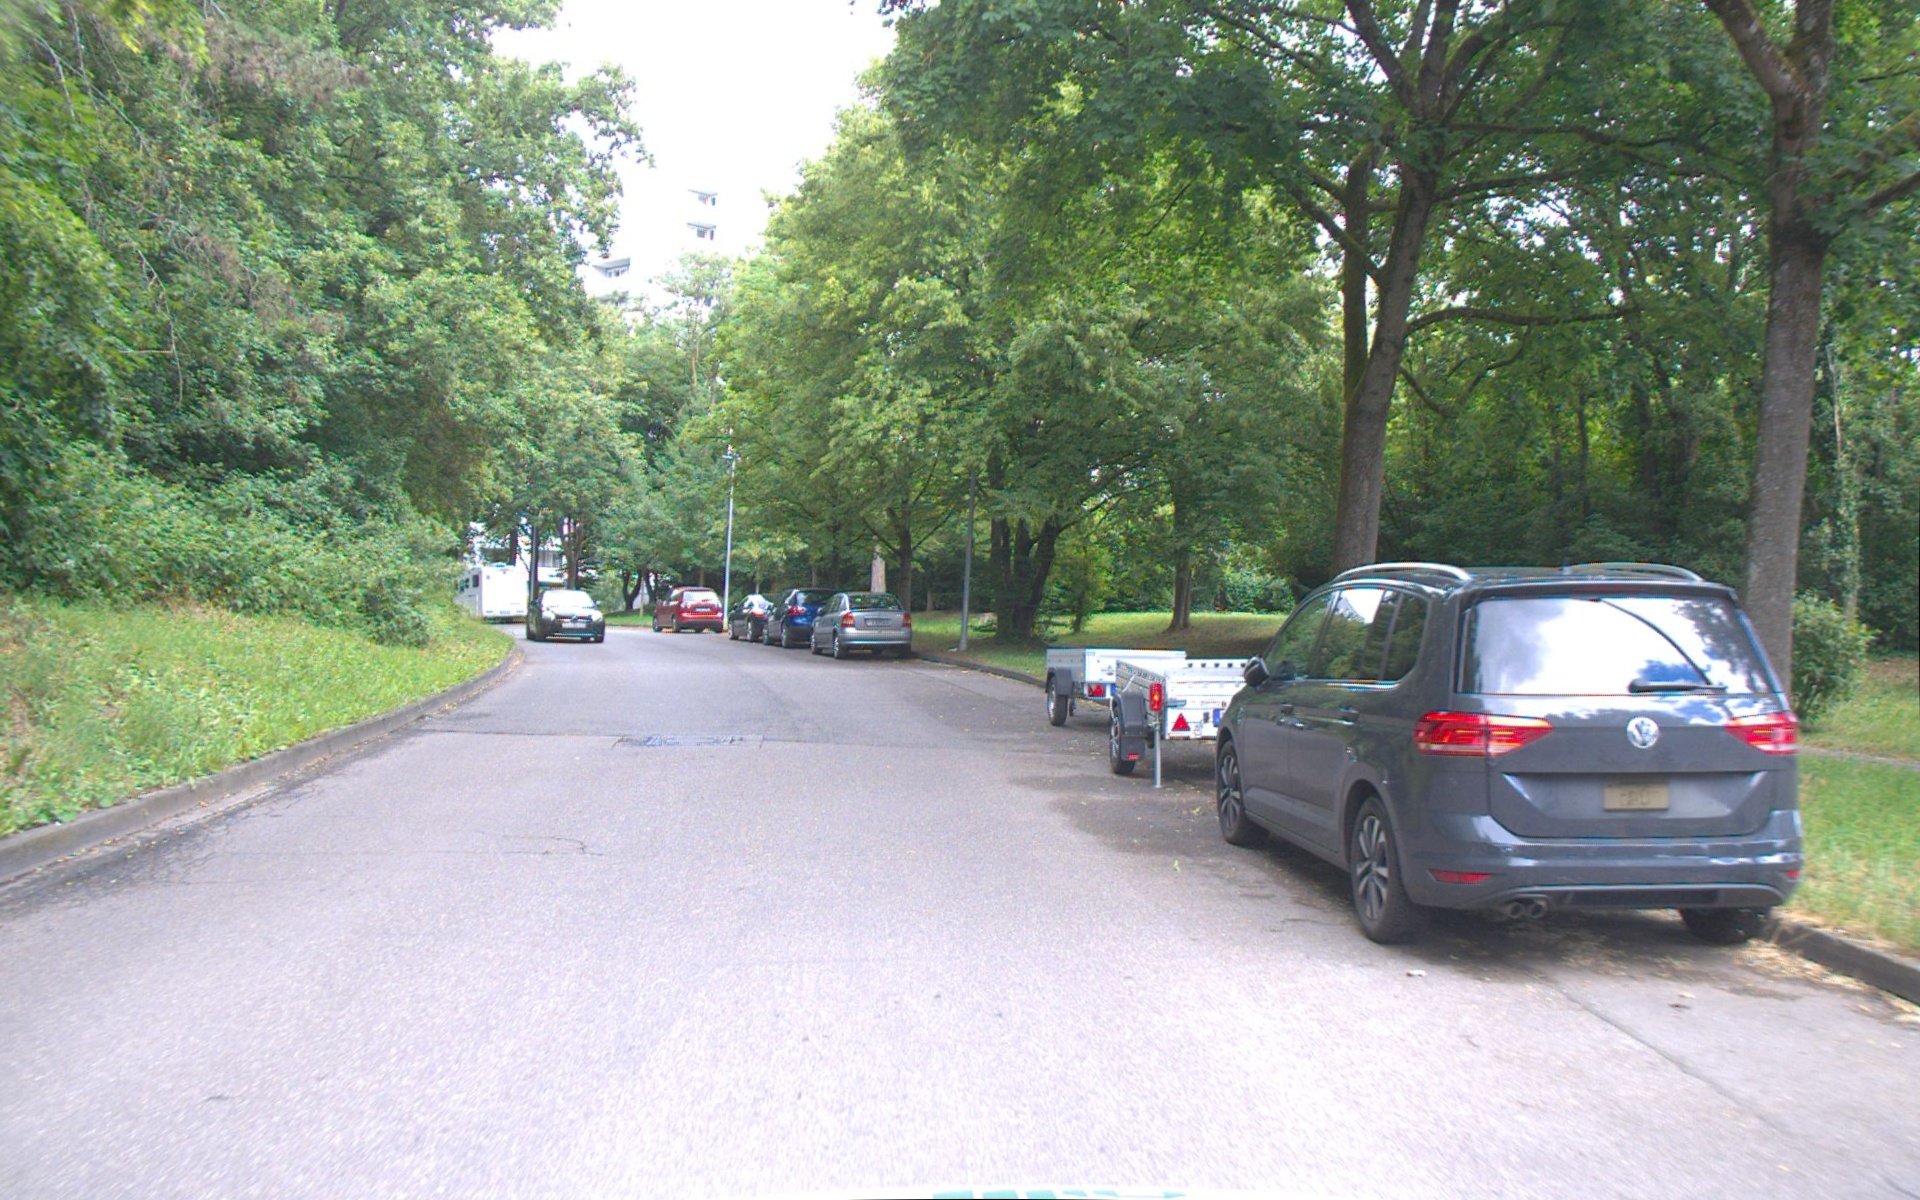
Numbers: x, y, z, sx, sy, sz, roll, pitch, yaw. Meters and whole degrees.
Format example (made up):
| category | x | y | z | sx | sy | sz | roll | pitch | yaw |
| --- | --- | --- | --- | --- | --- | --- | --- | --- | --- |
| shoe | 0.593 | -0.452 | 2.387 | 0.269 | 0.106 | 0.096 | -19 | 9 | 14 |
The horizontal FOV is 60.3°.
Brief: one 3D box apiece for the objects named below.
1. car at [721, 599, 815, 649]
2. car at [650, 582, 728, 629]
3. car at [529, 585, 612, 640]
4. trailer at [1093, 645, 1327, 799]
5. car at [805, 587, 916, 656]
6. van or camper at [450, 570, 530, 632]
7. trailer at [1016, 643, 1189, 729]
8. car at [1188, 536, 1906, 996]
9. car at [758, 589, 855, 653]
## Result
| category | x | y | z | sx | sy | sz | roll | pitch | yaw |
| --- | --- | --- | --- | --- | --- | --- | --- | --- | --- |
| car | -5.609 | 0.666 | 47.965 | 1.724 | 1.360 | 4.389 | 1 | -1 | -20 |
| car | -9.556 | 0.220 | 58.103 | 1.716 | 1.590 | 3.969 | 0 | -1 | -25 |
| car | -11.083 | 0.361 | 46.895 | 1.764 | 1.413 | 4.465 | 3 | -1 | -20 |
| trailer | 2.098 | 1.002 | 14.771 | 1.330 | 0.986 | 3.891 | 2 | 1 | -2 |
| car | -2.282 | 0.458 | 37.024 | 1.690 | 1.456 | 3.931 | 0 | 0 | -16 |
| van or camper | -23.959 | 0.047 | 84.234 | 2.408 | 3.060 | 5.145 | 0 | 0 | -35 |
| trailer | 1.601 | 0.975 | 19.540 | 1.338 | 0.862 | 3.273 | 3 | -1 | -8 |
| car | 2.579 | 0.644 | 8.692 | 1.740 | 1.691 | 4.836 | 2 | 0 | -4 |
| car | -4.093 | 0.545 | 43.467 | 1.687 | 1.536 | 4.161 | 3 | -1 | -17 |
